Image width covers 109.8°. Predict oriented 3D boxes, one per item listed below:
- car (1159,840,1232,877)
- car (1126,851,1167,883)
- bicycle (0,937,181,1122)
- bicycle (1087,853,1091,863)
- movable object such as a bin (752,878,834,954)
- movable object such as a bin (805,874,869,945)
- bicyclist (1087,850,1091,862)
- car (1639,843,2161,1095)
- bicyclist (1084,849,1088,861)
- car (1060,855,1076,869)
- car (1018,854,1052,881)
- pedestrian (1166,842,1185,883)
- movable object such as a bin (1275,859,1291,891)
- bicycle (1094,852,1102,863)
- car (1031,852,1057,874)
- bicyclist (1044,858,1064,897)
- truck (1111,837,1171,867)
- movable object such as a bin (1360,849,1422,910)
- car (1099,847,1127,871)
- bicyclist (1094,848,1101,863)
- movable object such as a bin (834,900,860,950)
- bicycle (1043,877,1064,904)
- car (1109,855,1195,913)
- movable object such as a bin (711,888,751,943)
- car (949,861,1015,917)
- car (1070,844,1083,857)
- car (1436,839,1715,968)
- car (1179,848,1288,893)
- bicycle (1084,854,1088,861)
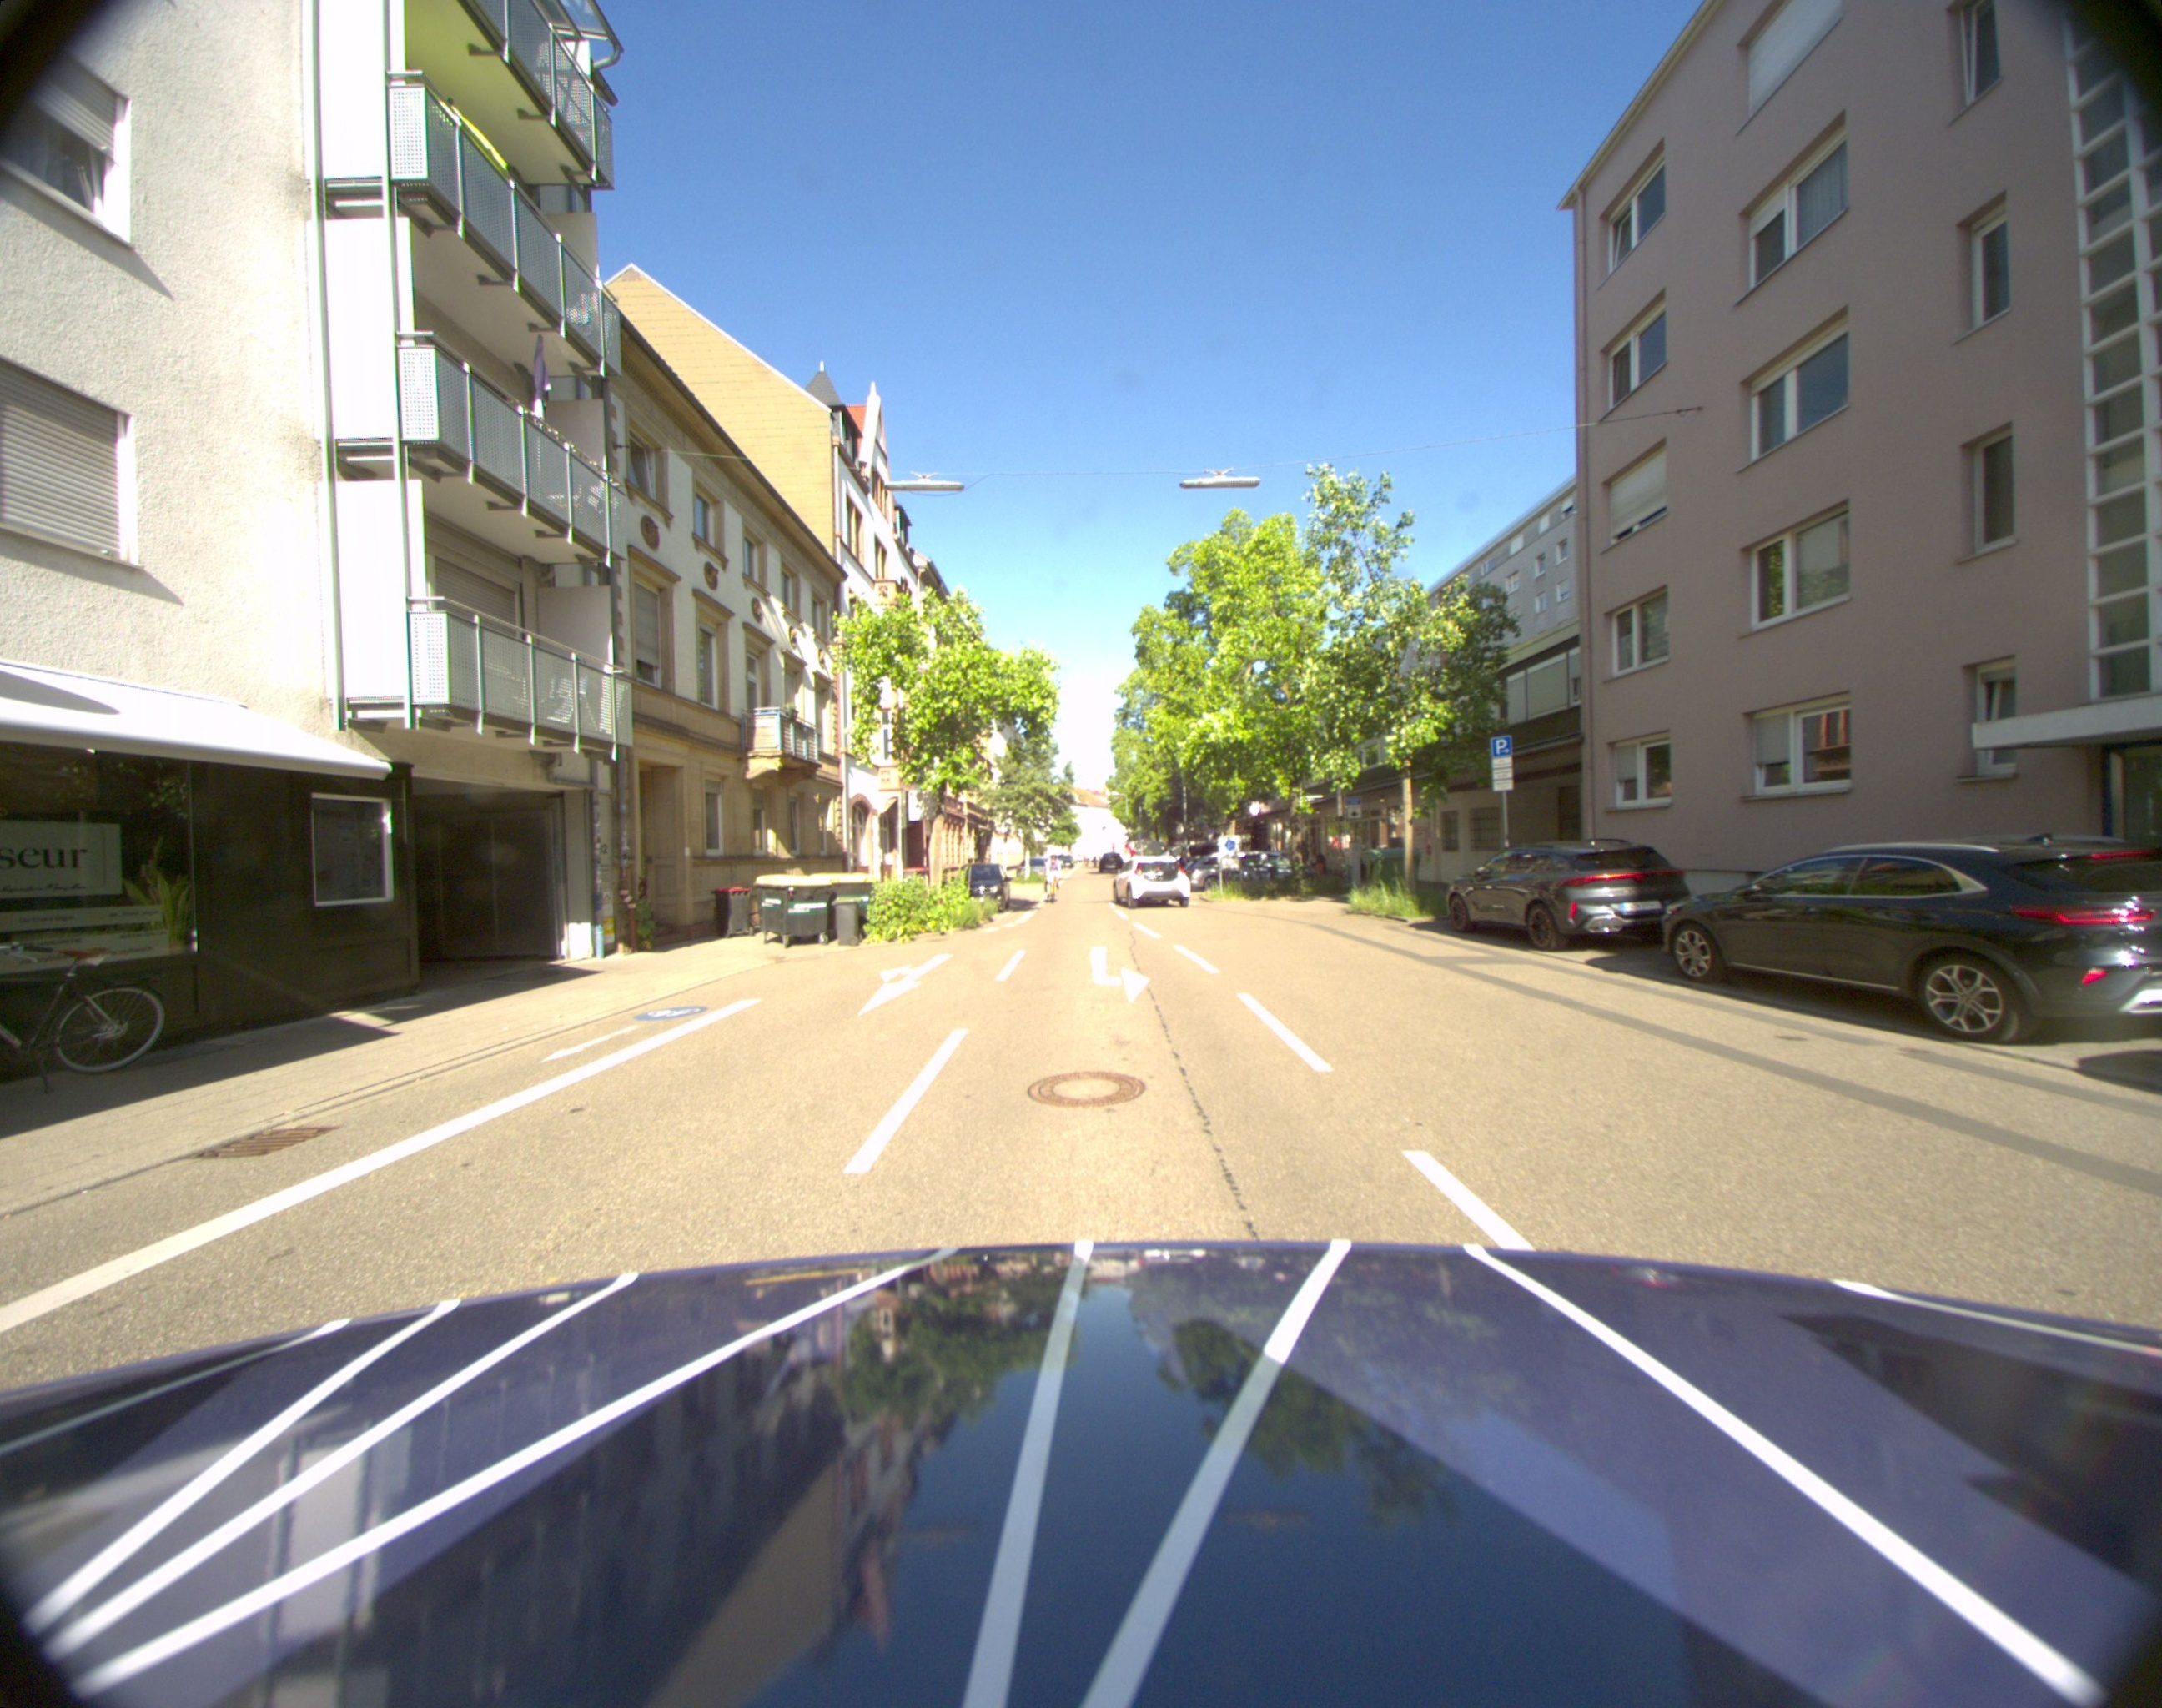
[{"bbox_3d":[6.701,0.269,44.775,3.997,2.020,2.000,-2,1,1],"label":"car"},{"bbox_3d":[3.292,0.623,38.915,1.867,1.455,4.000,-2,0,3],"label":"car"},{"bbox_3d":[-7.749,1.285,5.444,0.402,1.171,1.792,-2,0,1],"label":"bicycle"},{"bbox_3d":[0.990,0.488,96.626,0.422,1.292,1.762,-2,0,0],"label":"bicycle"},{"bbox_3d":[-5.592,1.164,14.775,1.212,1.318,1.052,2,3,42],"label":"movable object such as a bin"},{"bbox_3d":[-5.089,1.127,15.852,0.960,1.341,1.066,-1,2,-38],"label":"movable object such as a bin"},{"bbox_3d":[0.997,0.249,96.585,0.417,1.415,0.324,-2,1,1],"label":"bicyclist"},{"bbox_3d":[7.513,0.712,6.904,1.821,1.499,4.245,-4,0,2],"label":"car"},{"bbox_3d":[0.803,0.142,115.986,0.578,1.911,0.613,-3,1,1],"label":"bicyclist"},{"bbox_3d":[-1.438,0.835,84.201,1.653,1.447,3.290,-2,0,1],"label":"car"},{"bbox_3d":[-2.750,0.769,45.886,1.759,1.492,3.949,-2,0,0],"label":"car"},{"bbox_3d":[4.622,0.412,37.173,0.753,2.002,0.566,-1,1,-5],"label":"pedestrian"},{"bbox_3d":[7.616,0.788,28.674,0.488,1.218,0.409,-2,1,1],"label":"movable object such as a bin"},{"bbox_3d":[1.811,0.349,82.991,0.778,1.139,2.259,-3,1,1],"label":"bicycle"},{"bbox_3d":[-2.638,0.657,55.200,1.653,1.483,3.290,-2,0,0],"label":"car"},{"bbox_3d":[-0.942,0.814,26.691,0.610,1.338,1.018,-2,0,-6],"label":"bicyclist"},{"bbox_3d":[5.642,-0.186,71.675,5.322,2.581,1.998,-2,1,-9],"label":"truck"},{"bbox_3d":[8.131,0.641,19.991,1.247,1.536,1.019,-2,1,5],"label":"movable object such as a bin"},{"bbox_3d":[2.477,0.343,59.086,1.994,1.599,4.259,-3,3,1],"label":"car"},{"bbox_3d":[1.799,0.141,82.987,0.748,1.588,0.613,-3,1,1],"label":"bicyclist"},{"bbox_3d":[-4.582,1.388,14.887,0.401,0.916,0.484,0,2,-7],"label":"movable object such as a bin"},{"bbox_3d":[-0.984,1.268,26.737,0.612,0.876,1.813,-1,-1,-5],"label":"bicycle"},{"bbox_3d":[2.054,0.836,23.049,1.771,1.528,3.783,-2,0,-7],"label":"car"},{"bbox_3d":[-7.322,1.275,15.890,0.615,1.075,0.568,2,3,42],"label":"movable object such as a bin"},{"bbox_3d":[-2.973,1.016,23.363,1.551,1.483,3.351,-2,0,0],"label":"car"},{"bbox_3d":[-0.664,-0.540,126.475,1.998,2.002,4.000,-2,0,1],"label":"car"},{"bbox_3d":[7.587,0.651,12.255,1.821,1.583,4.141,-5,0,2],"label":"car"},{"bbox_3d":[6.084,0.640,30.667,3.997,1.665,2.000,-2,1,1],"label":"car"},{"bbox_3d":[0.823,0.532,115.993,0.570,1.139,2.259,-3,1,1],"label":"bicycle"}]
